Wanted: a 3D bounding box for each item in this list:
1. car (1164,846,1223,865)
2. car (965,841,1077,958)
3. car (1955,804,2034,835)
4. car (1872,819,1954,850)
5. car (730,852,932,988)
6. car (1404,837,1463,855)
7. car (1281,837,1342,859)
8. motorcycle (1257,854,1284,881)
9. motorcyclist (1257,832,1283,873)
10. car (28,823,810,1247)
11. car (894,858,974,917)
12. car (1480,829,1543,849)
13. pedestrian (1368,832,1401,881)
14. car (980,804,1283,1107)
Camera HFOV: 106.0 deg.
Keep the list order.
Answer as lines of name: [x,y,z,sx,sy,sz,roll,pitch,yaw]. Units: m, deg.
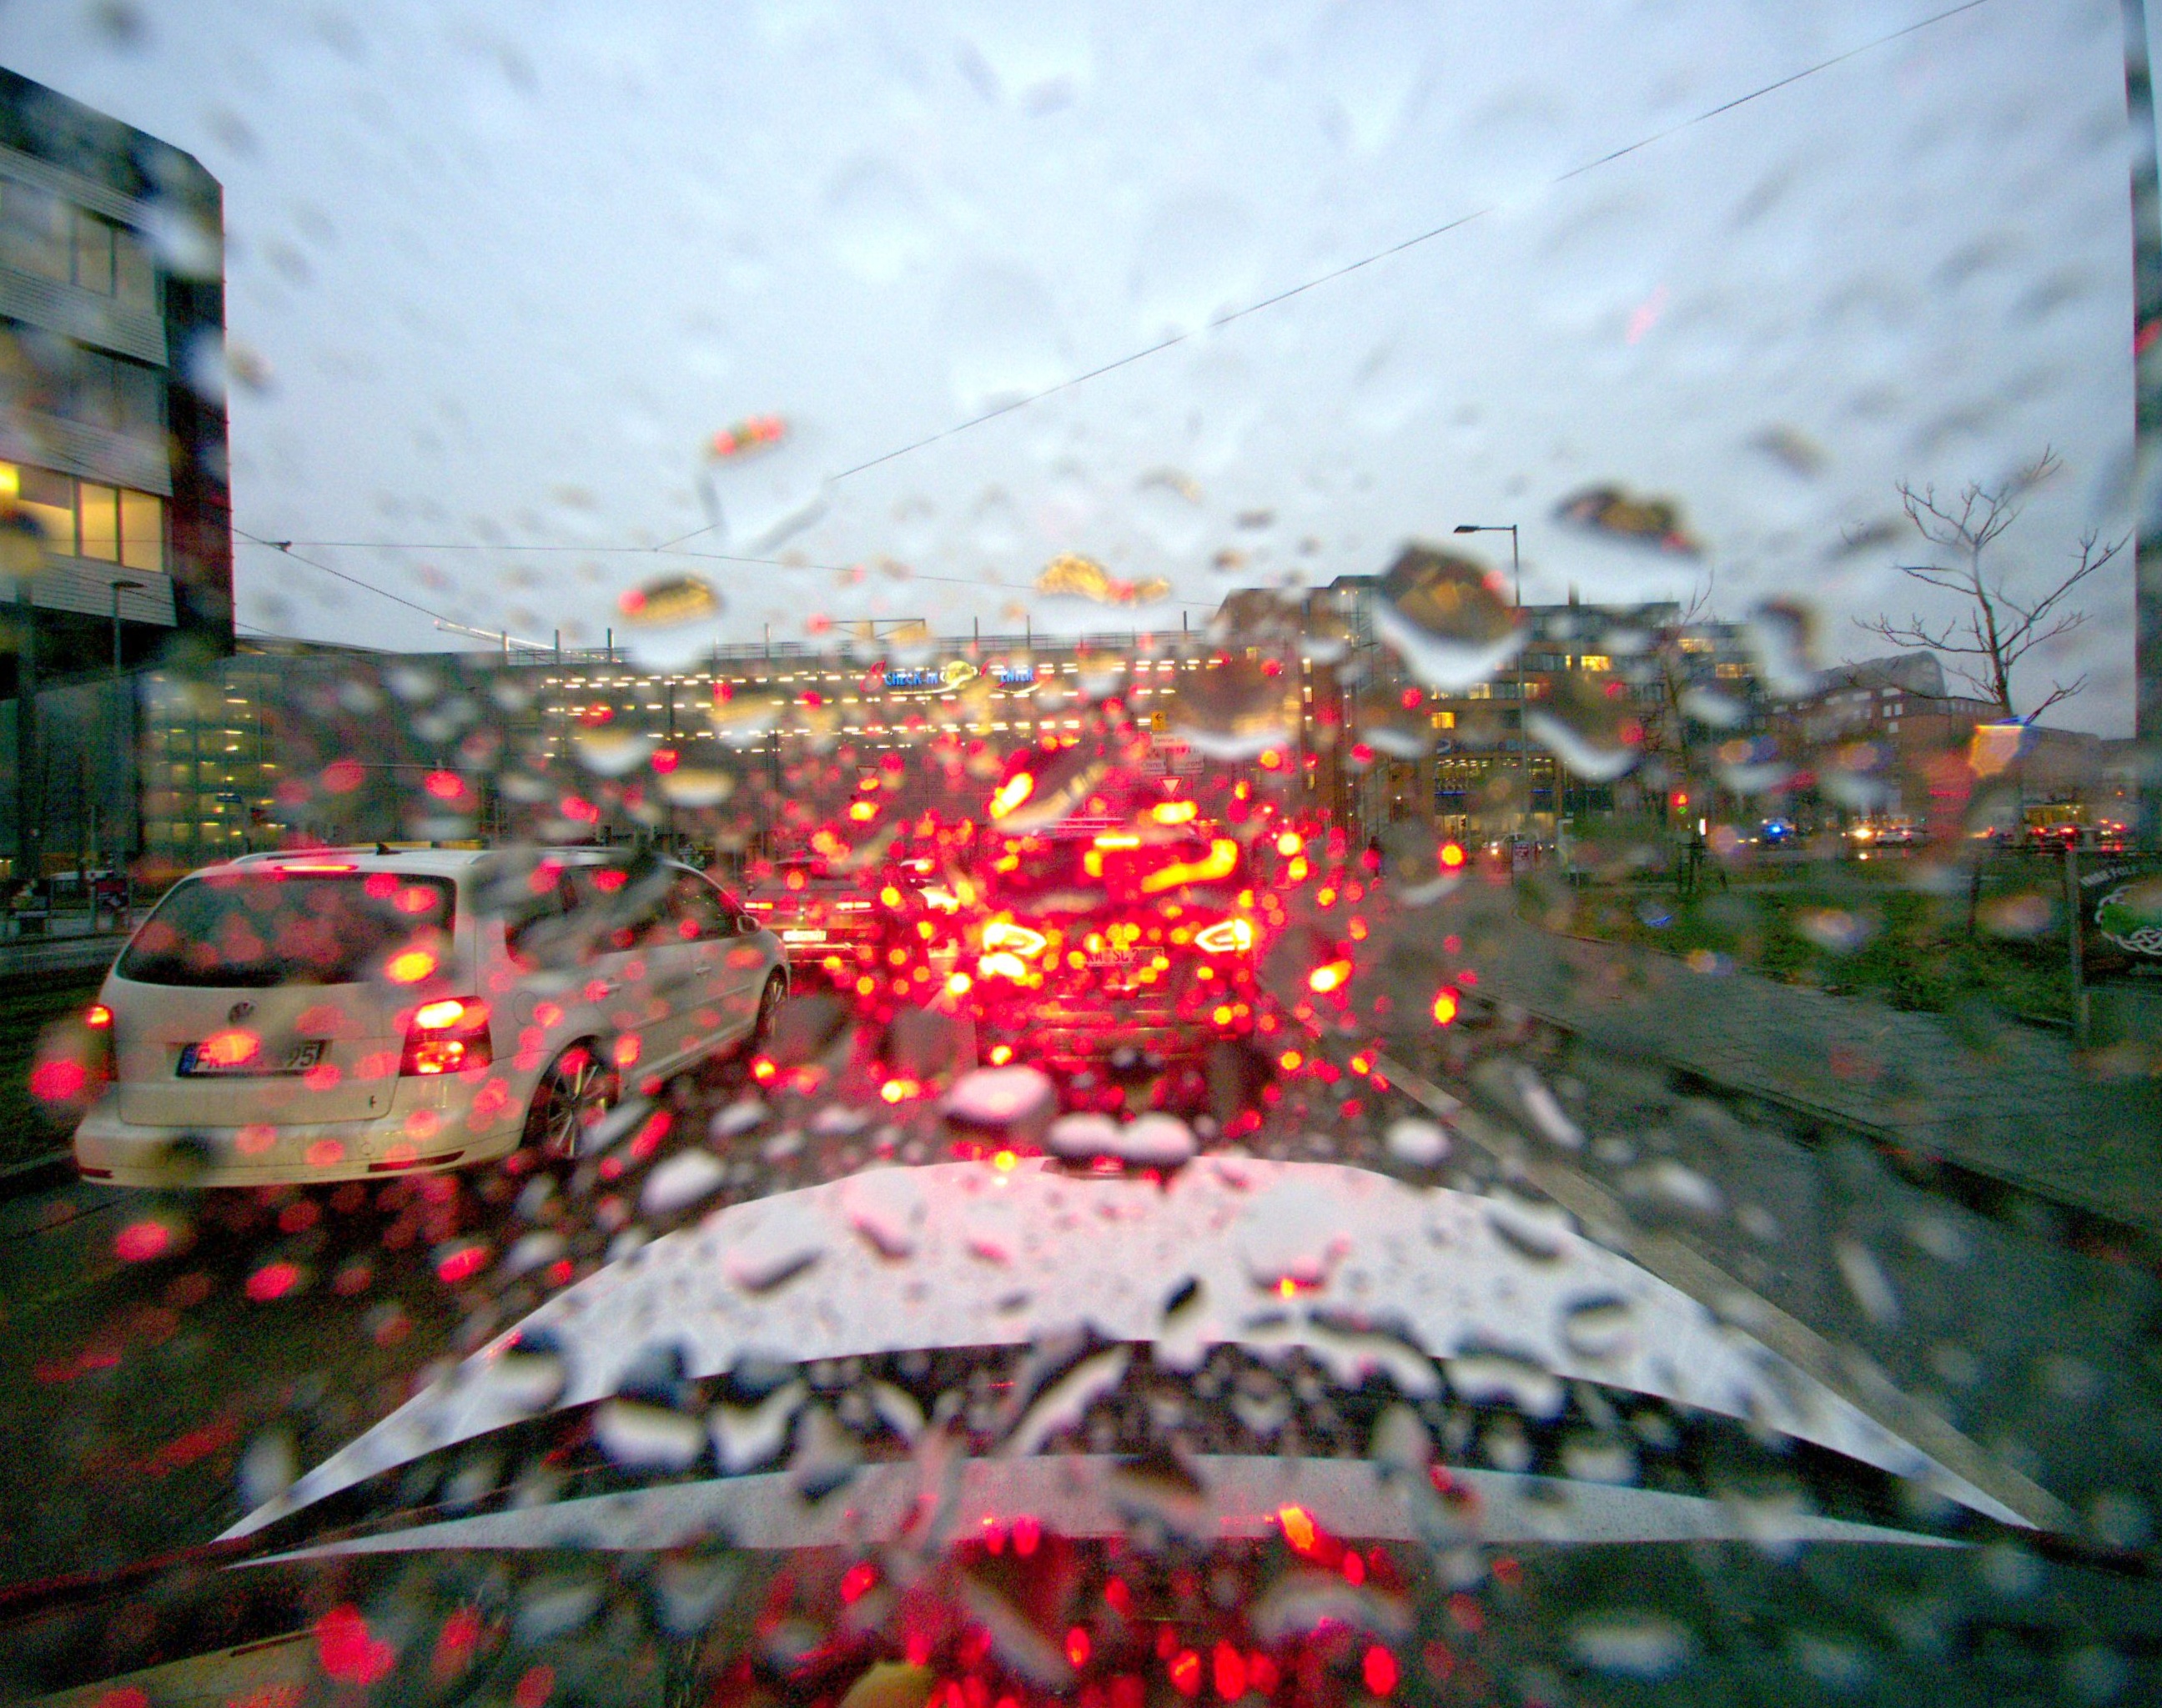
car: [9.044,0.109,65.601,4.413,1.390,1.796,-2,0,-6]
car: [-0.965,0.679,13.862,1.632,1.697,3.667,-1,0,-3]
car: [64.339,-2.420,57.353,4.948,2.013,1.987,0,0,-20]
car: [56.593,-1.315,55.419,3.985,2.013,1.994,0,0,-9]
car: [-3.345,0.788,11.723,1.748,1.574,3.997,-2,0,-2]
car: [29.267,-0.644,67.659,4.209,1.390,1.796,-2,0,-6]
car: [18.755,-0.467,66.222,4.413,1.595,1.796,-2,0,-6]
motorcycle: [7.346,0.507,31.624,0.848,0.972,1.585,-2,0,7]
motorcyclist: [7.335,-0.067,31.641,0.863,1.534,1.110,-2,0,7]
car: [-3.286,0.696,5.274,1.665,1.660,4.147,1,0,0]
car: [-3.464,0.732,19.734,1.538,1.251,4.059,-1,0,-6]
car: [36.384,-1.229,68.865,4.425,1.534,1.796,-2,0,-6]
pedestrian: [12.240,0.092,32.872,1.159,1.924,0.904,1,0,25]
car: [0.284,0.579,6.815,1.730,1.738,4.246,1,0,0]
